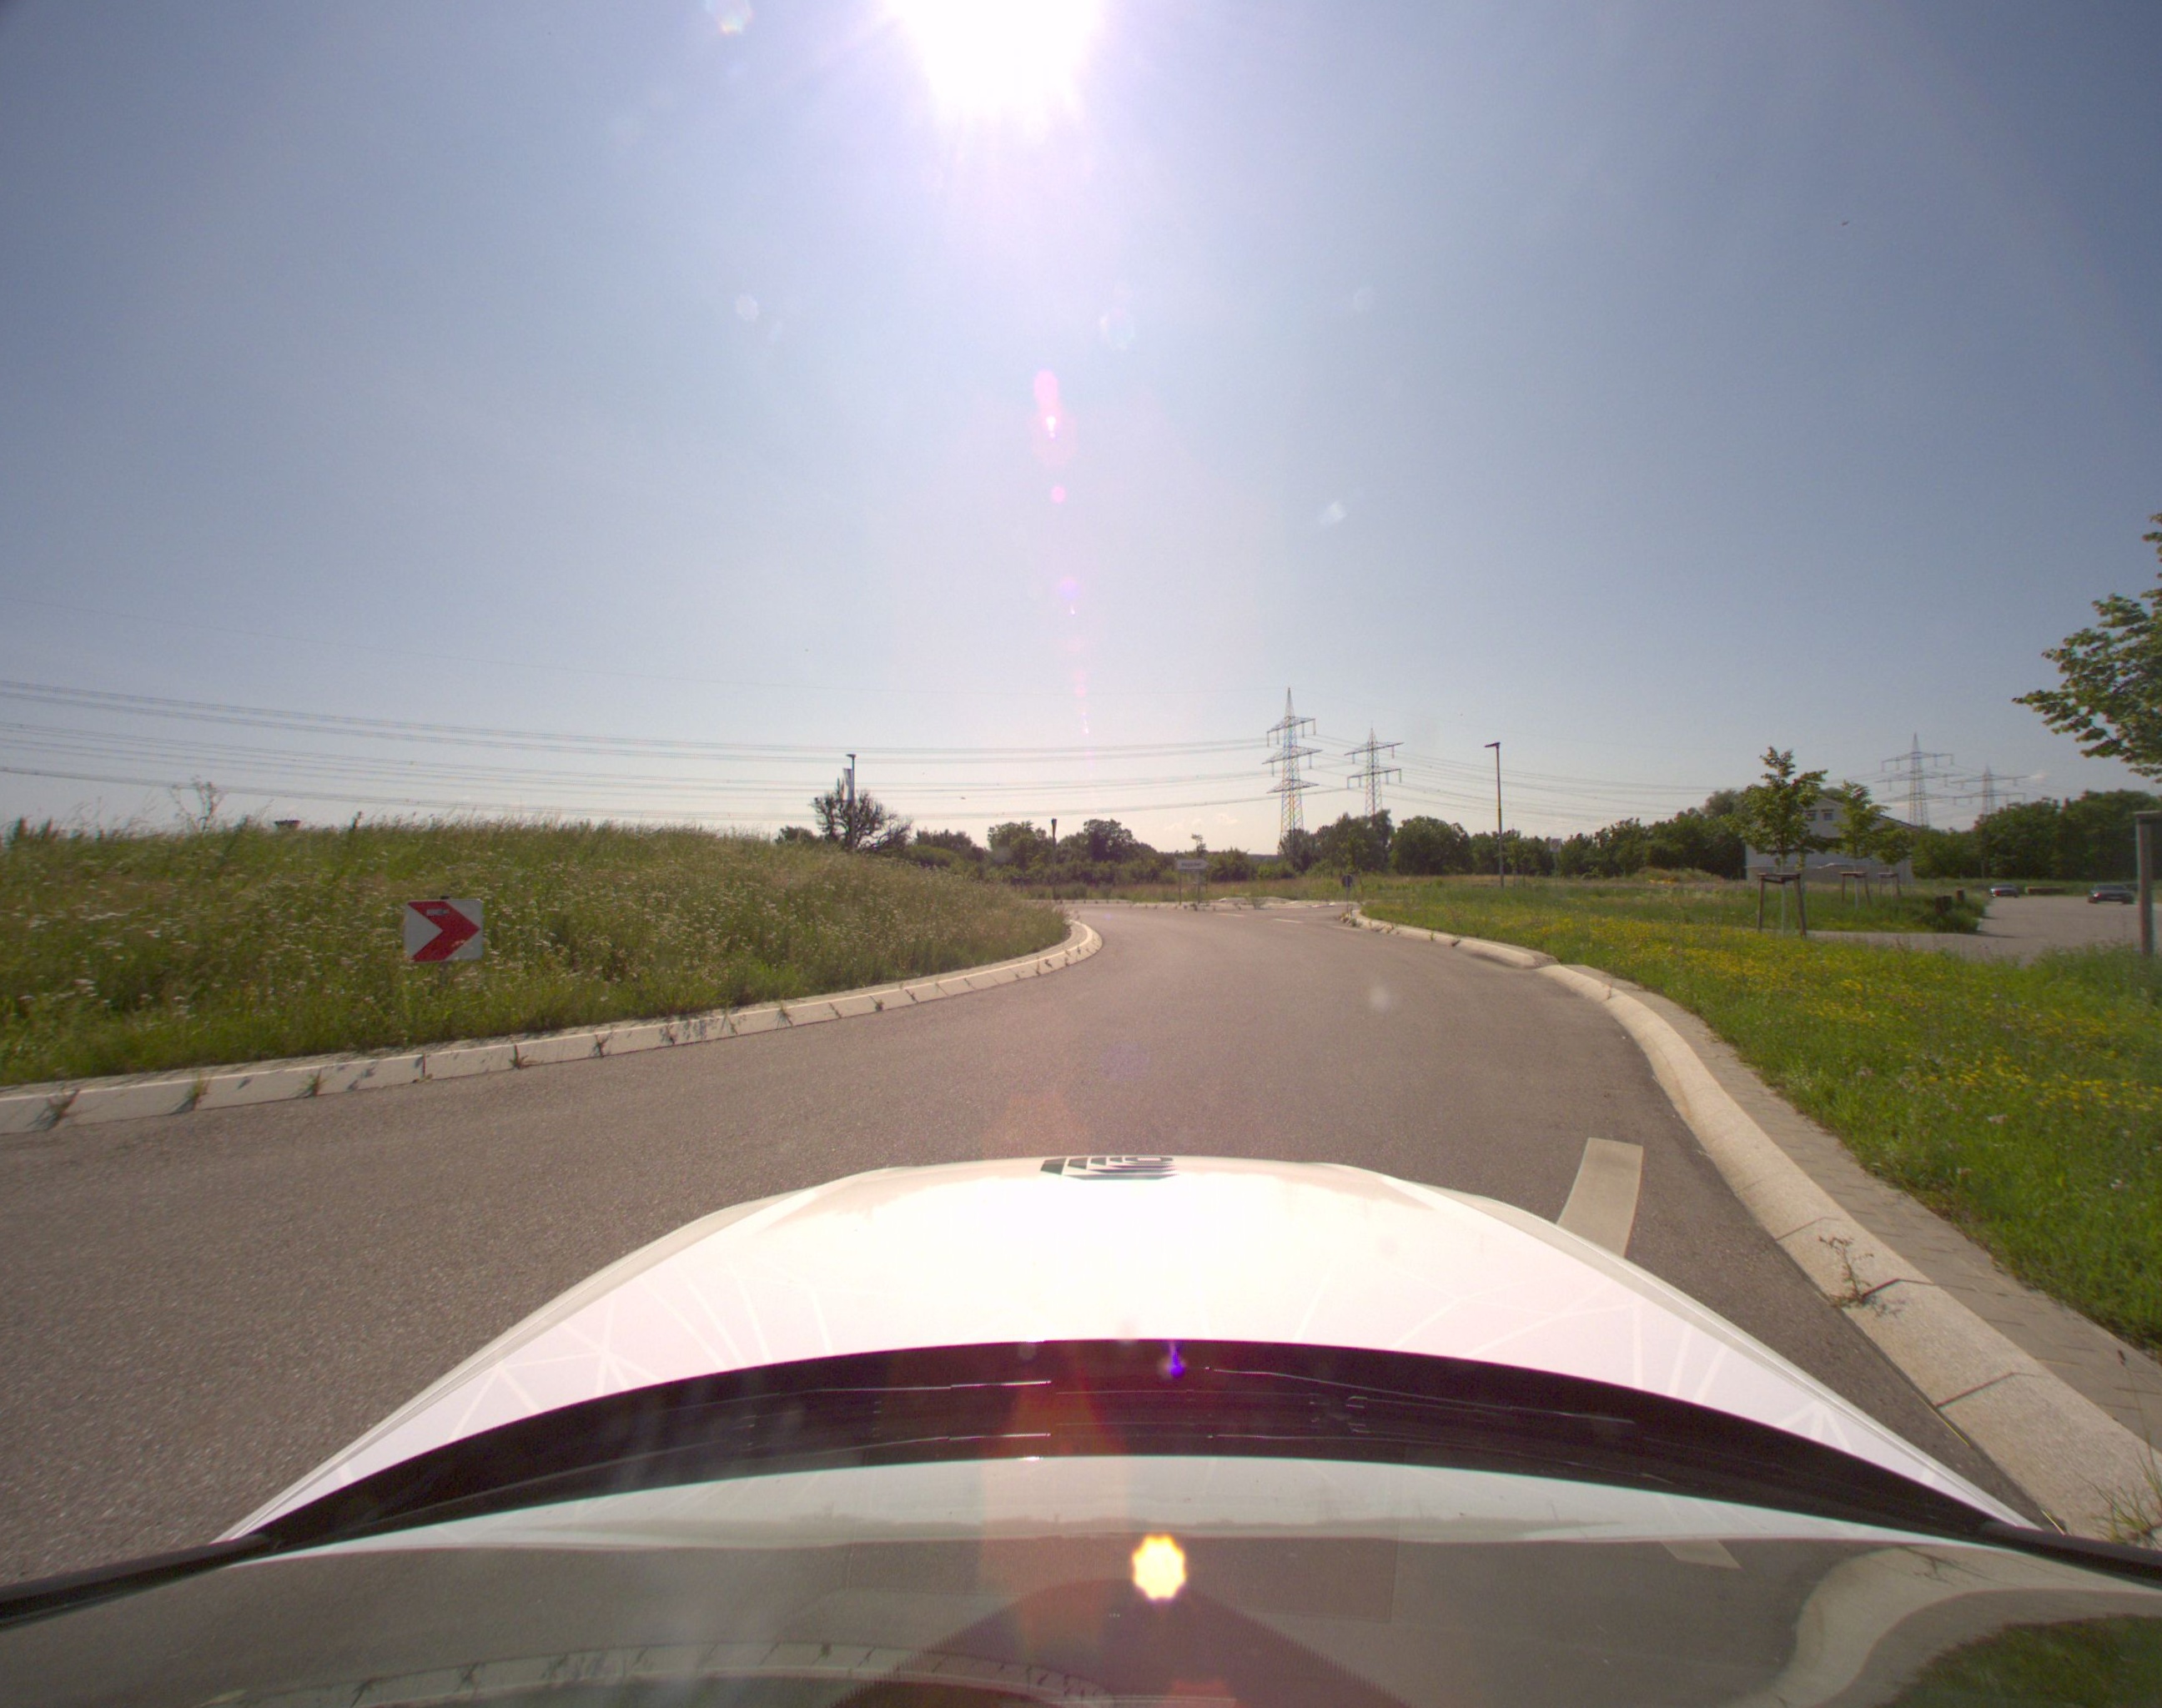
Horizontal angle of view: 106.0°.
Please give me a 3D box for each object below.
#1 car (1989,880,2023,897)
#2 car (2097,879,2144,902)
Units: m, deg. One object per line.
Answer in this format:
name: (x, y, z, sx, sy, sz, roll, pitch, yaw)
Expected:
car: (91.506, 3.387, 80.551, 3.498, 1.662, 1.664, 2, -3, -32)
car: (74.457, 2.613, 58.312, 3.498, 1.662, 1.664, 2, -3, -32)
